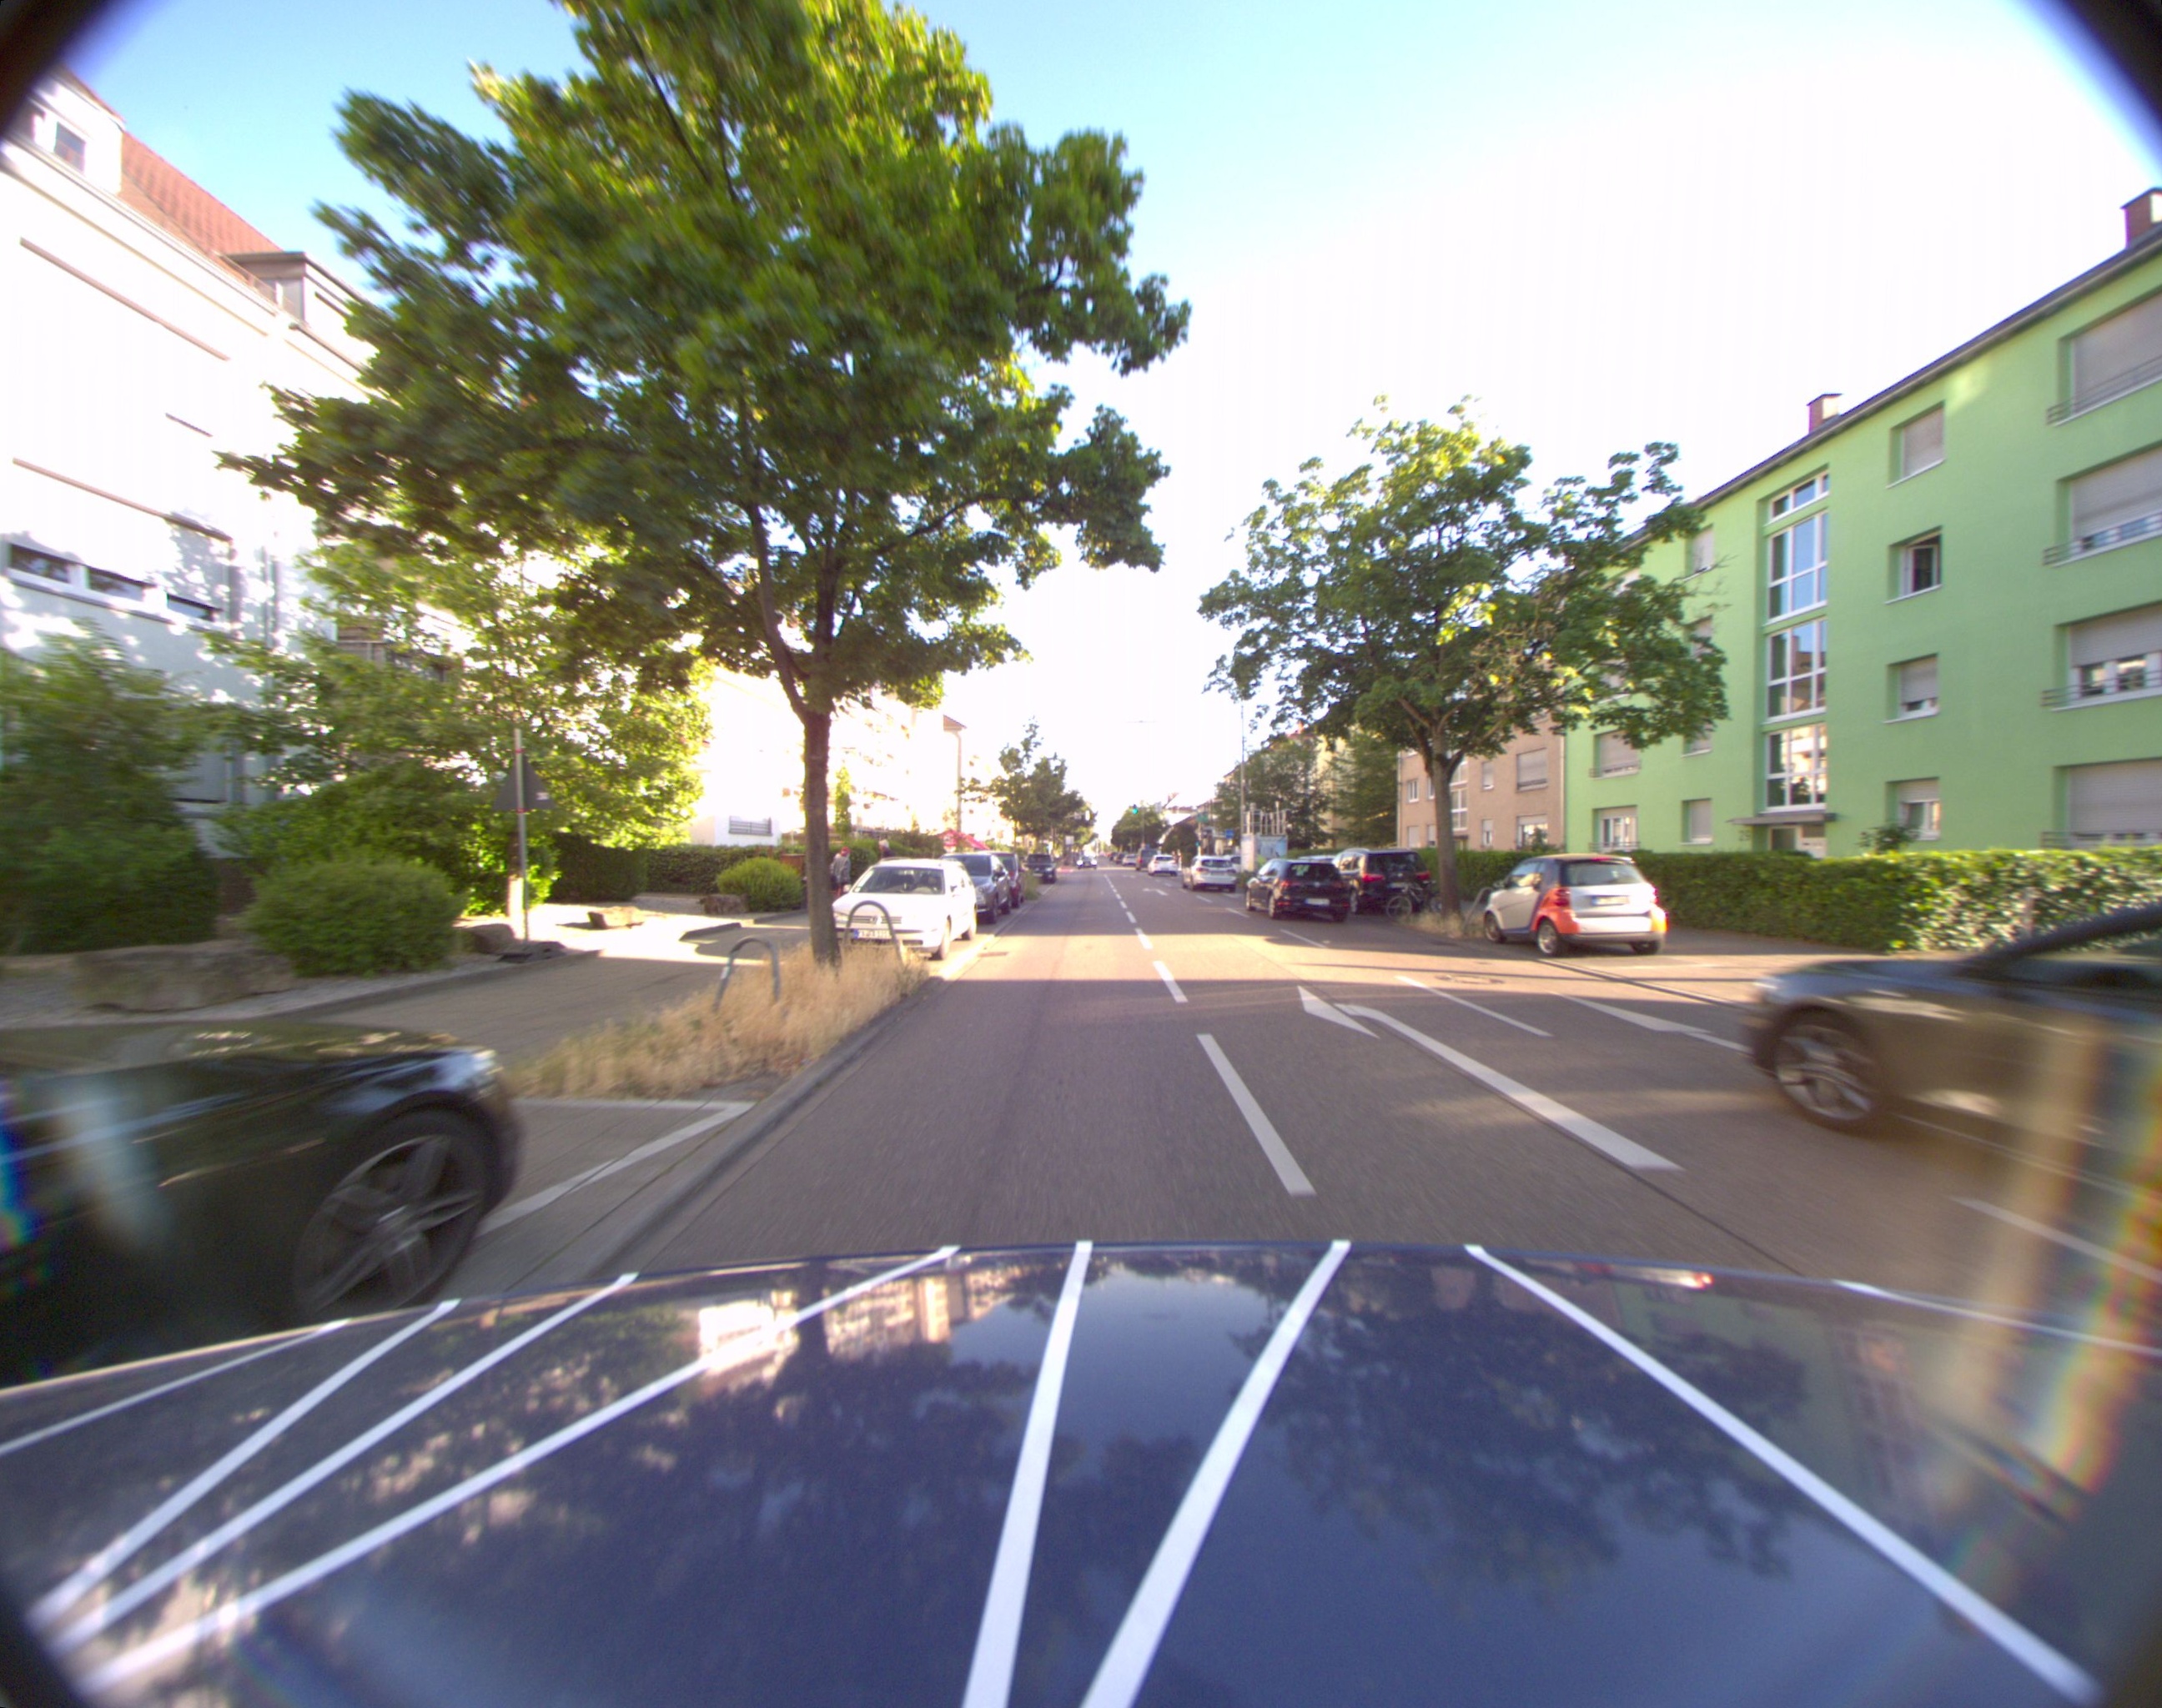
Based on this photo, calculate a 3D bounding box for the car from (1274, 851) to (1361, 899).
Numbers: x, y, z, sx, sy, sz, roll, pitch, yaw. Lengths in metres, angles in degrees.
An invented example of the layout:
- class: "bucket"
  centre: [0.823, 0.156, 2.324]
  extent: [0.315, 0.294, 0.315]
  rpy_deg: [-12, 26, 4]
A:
- class: "car"
  centre: [8.126, 0.678, 26.485]
  extent: [1.687, 1.512, 4.190]
  rpy_deg: [-1, 0, -1]

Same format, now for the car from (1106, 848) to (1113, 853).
- class: "car"
  centre: [9.537, -1.223, 255.956]
  extent: [1.843, 1.604, 4.406]
  rpy_deg: [-1, 1, -6]

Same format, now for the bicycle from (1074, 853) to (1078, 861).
- class: "bicycle"
  centre: [-0.663, 0.424, 101.962]
  extent: [0.325, 0.981, 1.191]
  rpy_deg: [-1, 1, 5]

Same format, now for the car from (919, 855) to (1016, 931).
- class: "car"
  centre: [-2.570, 0.821, 18.076]
  extent: [1.640, 1.559, 4.000]
  rpy_deg: [1, 0, 1]

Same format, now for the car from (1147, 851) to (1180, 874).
- class: "car"
  centre: [5.718, 0.561, 53.122]
  extent: [1.820, 1.438, 4.109]
  rpy_deg: [2, 0, 0]

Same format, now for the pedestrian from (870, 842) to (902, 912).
- class: "pedestrian"
  centre: [-5.181, 0.598, 20.234]
  extent: [0.549, 1.839, 0.765]
  rpy_deg: [-1, 1, 8]

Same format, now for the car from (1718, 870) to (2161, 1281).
- class: "car"
  centre: [4.839, 0.853, 2.629]
  extent: [1.704, 1.462, 4.294]
  rpy_deg: [1, 1, 1]

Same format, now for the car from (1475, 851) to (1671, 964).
- class: "car"
  centre: [7.852, 0.776, 12.419]
  extent: [1.502, 1.607, 2.862]
  rpy_deg: [-1, 1, 4]

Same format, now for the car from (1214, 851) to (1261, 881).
- class: "car"
  centre: [8.371, 0.618, 40.950]
  extent: [1.641, 1.543, 3.785]
  rpy_deg: [-1, 1, -2]

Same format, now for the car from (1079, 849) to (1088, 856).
- class: "car"
  centre: [0.531, -0.306, 165.780]
  extent: [1.744, 1.509, 3.811]
  rpy_deg: [-1, 1, 3]

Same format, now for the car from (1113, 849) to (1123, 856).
- class: "car"
  centre: [6.880, -0.326, 140.939]
  extent: [1.845, 1.312, 4.441]
  rpy_deg: [0, 1, 2]

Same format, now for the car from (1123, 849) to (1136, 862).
- class: "car"
  centre: [7.238, 0.154, 114.229]
  extent: [1.866, 1.819, 5.227]
  rpy_deg: [1, 1, 2]

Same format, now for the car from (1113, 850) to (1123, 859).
- class: "car"
  centre: [7.795, 0.152, 159.061]
  extent: [1.842, 1.866, 4.409]
  rpy_deg: [-1, 1, 0]

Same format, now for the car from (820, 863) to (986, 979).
- class: "car"
  centre: [-2.688, 0.933, 12.479]
  extent: [1.641, 1.482, 4.415]
  rpy_deg: [1, 0, 0]

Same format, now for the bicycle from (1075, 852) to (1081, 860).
- class: "bicycle"
  centre: [-0.421, 0.255, 105.175]
  extent: [0.324, 1.138, 1.802]
  rpy_deg: [0, 1, 14]

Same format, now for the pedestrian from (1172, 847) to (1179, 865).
- class: "pedestrian"
  centre: [10.313, 0.230, 82.841]
  extent: [0.639, 2.002, 0.739]
  rpy_deg: [-1, 1, 2]

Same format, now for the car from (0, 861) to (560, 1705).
- class: "car"
  centre: [-3.041, 0.840, 0.543]
  extent: [1.879, 1.572, 4.821]
  rpy_deg: [1, 0, 2]

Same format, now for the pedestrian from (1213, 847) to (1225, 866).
- class: "pedestrian"
  centre: [11.778, 0.204, 64.820]
  extent: [0.607, 1.620, 0.751]
  rpy_deg: [-3, 2, 38]

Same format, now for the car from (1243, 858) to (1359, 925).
- class: "car"
  centre: [5.298, 0.841, 18.794]
  extent: [1.704, 1.395, 4.027]
  rpy_deg: [1, 0, 1]

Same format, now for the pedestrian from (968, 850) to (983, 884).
- class: "pedestrian"
  centre: [-4.876, 0.584, 34.987]
  extent: [0.558, 1.559, 0.747]
  rpy_deg: [-1, 1, -17]

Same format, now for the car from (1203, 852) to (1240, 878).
- class: "car"
  centre: [8.430, 0.643, 45.823]
  extent: [1.657, 1.471, 3.943]
  rpy_deg: [-1, 0, 2]

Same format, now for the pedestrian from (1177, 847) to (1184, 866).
- class: "pedestrian"
  centre: [10.624, 0.226, 81.243]
  extent: [0.645, 2.002, 0.814]
  rpy_deg: [-1, 2, 2]

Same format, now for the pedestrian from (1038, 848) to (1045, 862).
- class: "pedestrian"
  centre: [-4.837, 0.131, 92.785]
  extent: [0.830, 1.673, 0.660]
  rpy_deg: [0, 1, 5]

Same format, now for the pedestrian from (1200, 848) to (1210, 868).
- class: "pedestrian"
  centre: [10.442, 0.322, 63.926]
  extent: [0.608, 1.585, 0.749]
  rpy_deg: [-4, 2, -2]

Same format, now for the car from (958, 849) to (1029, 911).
- class: "car"
  centre: [-2.534, 0.701, 22.962]
  extent: [1.726, 1.646, 4.596]
  rpy_deg: [-1, 0, -2]

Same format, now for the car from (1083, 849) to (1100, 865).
- class: "car"
  centre: [1.057, 0.271, 76.895]
  extent: [1.641, 1.482, 4.415]
  rpy_deg: [1, 0, 0]

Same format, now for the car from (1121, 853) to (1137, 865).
- class: "car"
  centre: [6.185, 0.566, 97.753]
  extent: [1.841, 1.465, 4.671]
  rpy_deg: [1, 0, 1]

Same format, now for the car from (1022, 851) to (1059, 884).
- class: "car"
  centre: [-2.127, 0.690, 40.937]
  extent: [1.796, 1.622, 4.029]
  rpy_deg: [-1, 0, 0]

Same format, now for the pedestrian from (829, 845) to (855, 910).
- class: "pedestrian"
  centre: [-6.309, 0.608, 20.091]
  extent: [0.512, 1.687, 0.527]
  rpy_deg: [-1, 1, -4]

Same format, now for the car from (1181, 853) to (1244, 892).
- class: "car"
  centre: [5.481, 0.741, 32.273]
  extent: [1.837, 1.462, 4.451]
  rpy_deg: [2, 0, 0]

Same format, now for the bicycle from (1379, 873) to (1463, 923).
- class: "bicycle"
  centre: [7.914, 1.012, 17.706]
  extent: [1.679, 1.083, 0.560]
  rpy_deg: [-2, 1, 3]

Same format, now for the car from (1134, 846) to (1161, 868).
- class: "car"
  centre: [6.000, 0.256, 69.163]
  extent: [1.998, 1.935, 4.777]
  rpy_deg: [1, 1, 1]

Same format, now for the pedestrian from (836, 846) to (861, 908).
- class: "pedestrian"
  centre: [-6.412, 0.617, 20.956]
  extent: [0.512, 1.687, 0.527]
  rpy_deg: [-1, 1, -4]

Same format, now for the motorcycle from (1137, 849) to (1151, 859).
- class: "motorcycle"
  centre: [9.391, -0.011, 112.785]
  extent: [1.263, 1.526, 2.887]
  rpy_deg: [-1, 1, -13]

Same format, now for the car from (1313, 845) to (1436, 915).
- class: "car"
  centre: [8.027, 0.637, 21.266]
  extent: [1.788, 1.723, 4.617]
  rpy_deg: [0, 0, 2]
